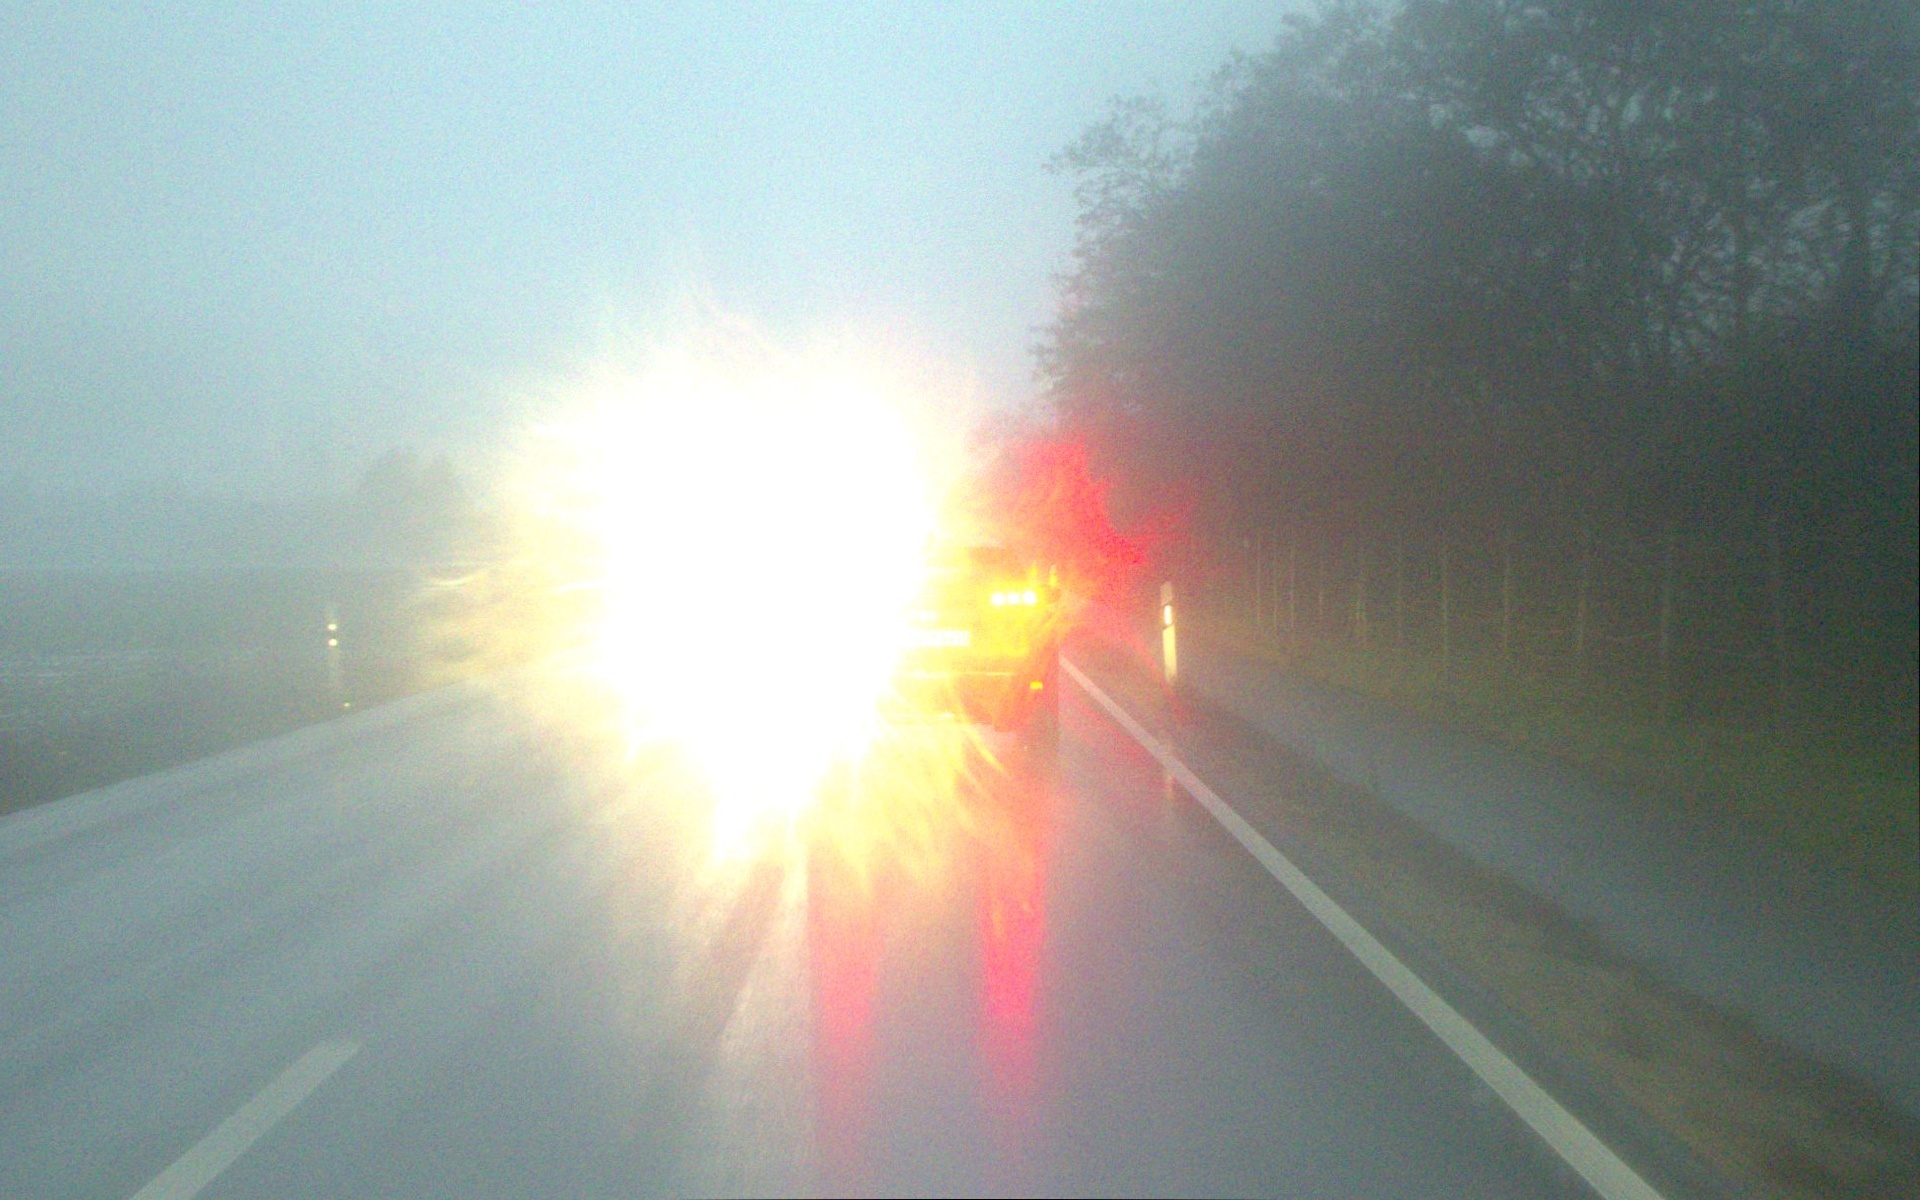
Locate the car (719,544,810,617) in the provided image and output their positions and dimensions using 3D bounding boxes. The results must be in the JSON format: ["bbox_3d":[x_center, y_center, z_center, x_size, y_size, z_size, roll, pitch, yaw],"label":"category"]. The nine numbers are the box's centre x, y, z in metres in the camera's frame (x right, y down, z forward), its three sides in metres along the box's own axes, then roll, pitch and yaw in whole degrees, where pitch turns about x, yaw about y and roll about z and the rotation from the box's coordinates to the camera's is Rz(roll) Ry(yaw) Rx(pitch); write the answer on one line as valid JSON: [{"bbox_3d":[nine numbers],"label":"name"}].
[{"bbox_3d":[-4.135,-0.432,73.135,1.728,1.408,4.023,-3,1,-1],"label":"car"}]

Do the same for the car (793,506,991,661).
[{"bbox_3d":[-0.884,-0.257,48.476,2.592,2.007,5.804,1,1,0],"label":"car"}]

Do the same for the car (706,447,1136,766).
[{"bbox_3d":[-0.245,0.004,25.789,2.820,2.070,5.804,1,1,0],"label":"car"}]
